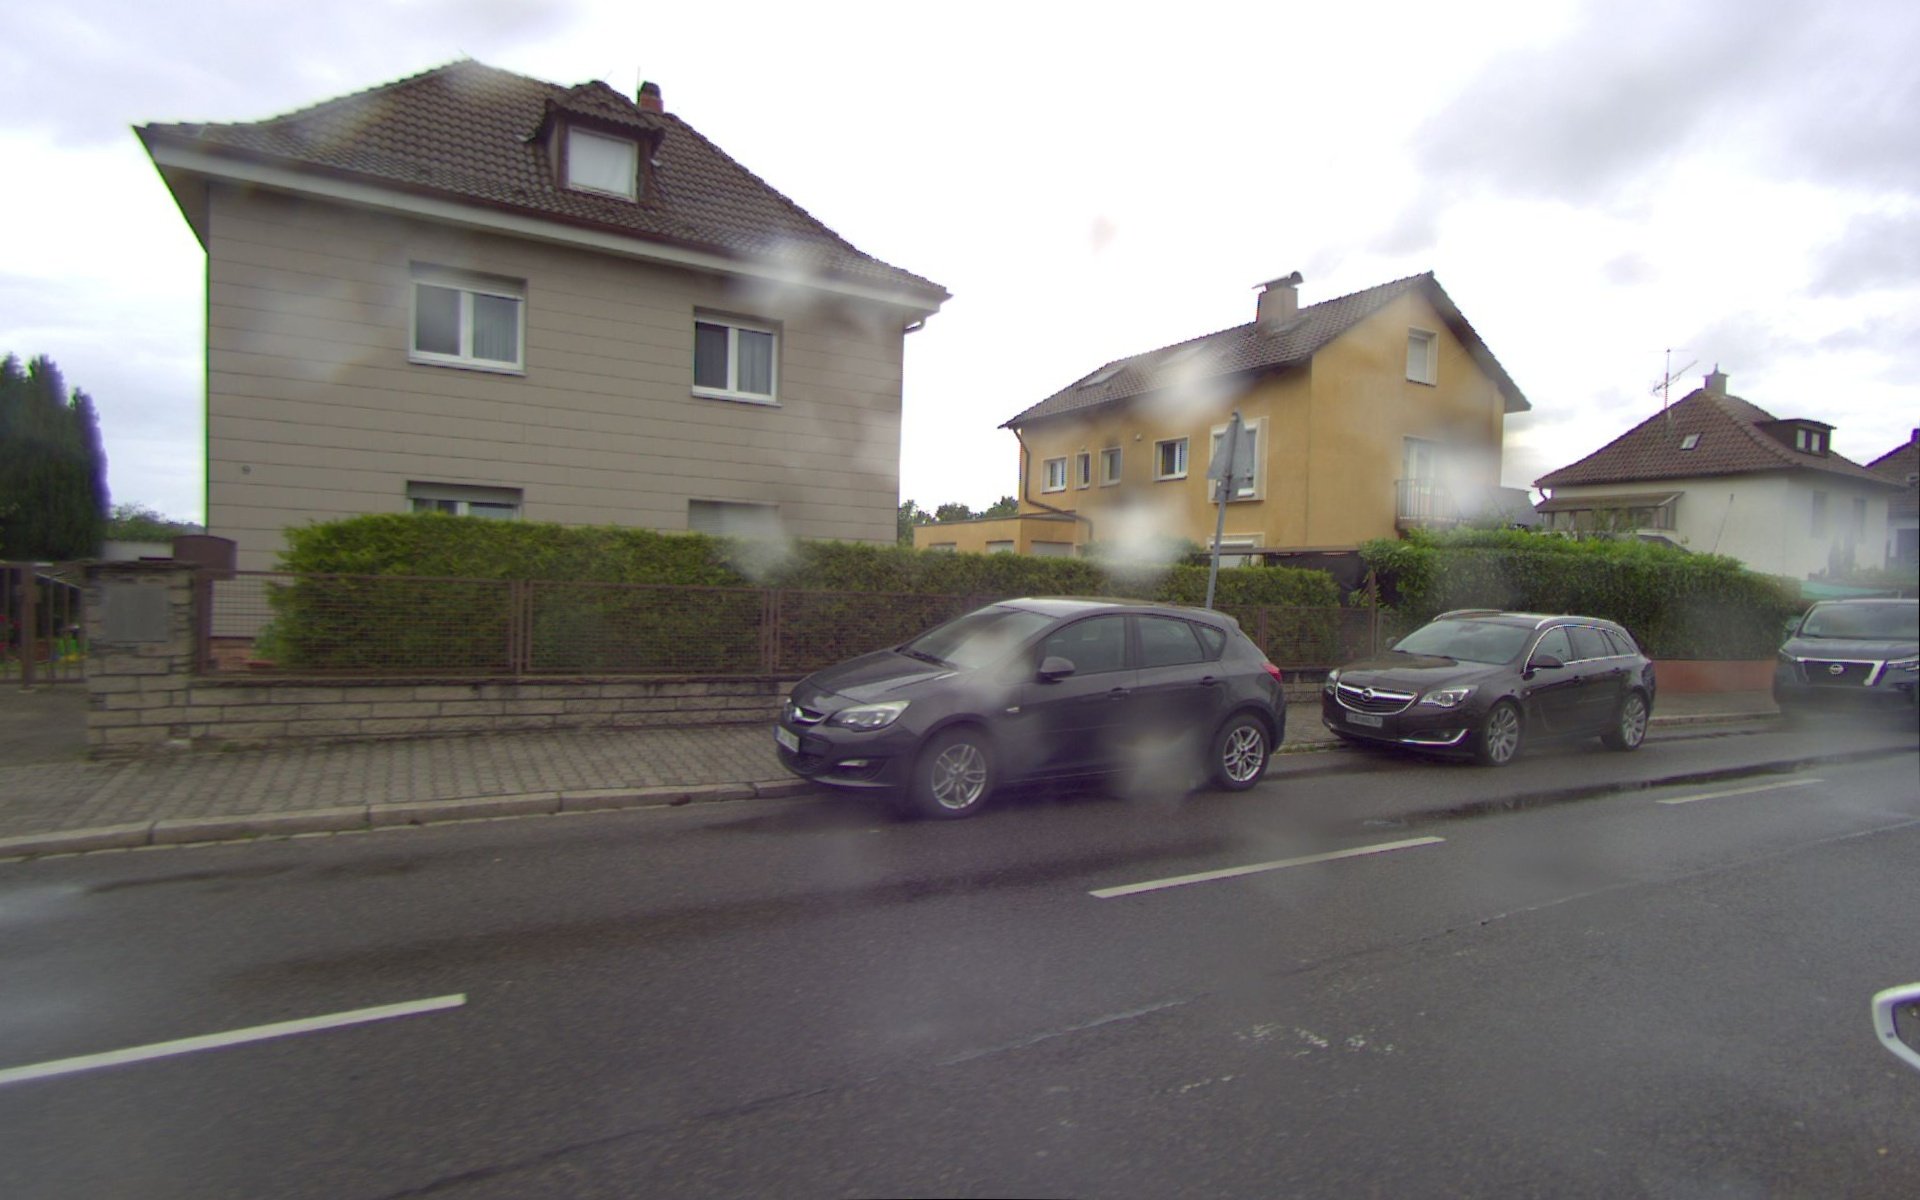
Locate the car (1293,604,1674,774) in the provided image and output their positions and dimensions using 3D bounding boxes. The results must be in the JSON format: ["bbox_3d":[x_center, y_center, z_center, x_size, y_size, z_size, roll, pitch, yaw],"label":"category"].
[{"bbox_3d":[5.912,0.885,11.183,4.478,1.537,1.740,2,0,-32],"label":"car"}]

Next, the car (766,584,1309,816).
[{"bbox_3d":[0.692,0.677,8.104,4.080,1.459,1.742,2,0,-29],"label":"car"}]

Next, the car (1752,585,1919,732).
[{"bbox_3d":[14.924,0.868,16.114,5.032,2.029,1.902,2,0,-32],"label":"car"}]
